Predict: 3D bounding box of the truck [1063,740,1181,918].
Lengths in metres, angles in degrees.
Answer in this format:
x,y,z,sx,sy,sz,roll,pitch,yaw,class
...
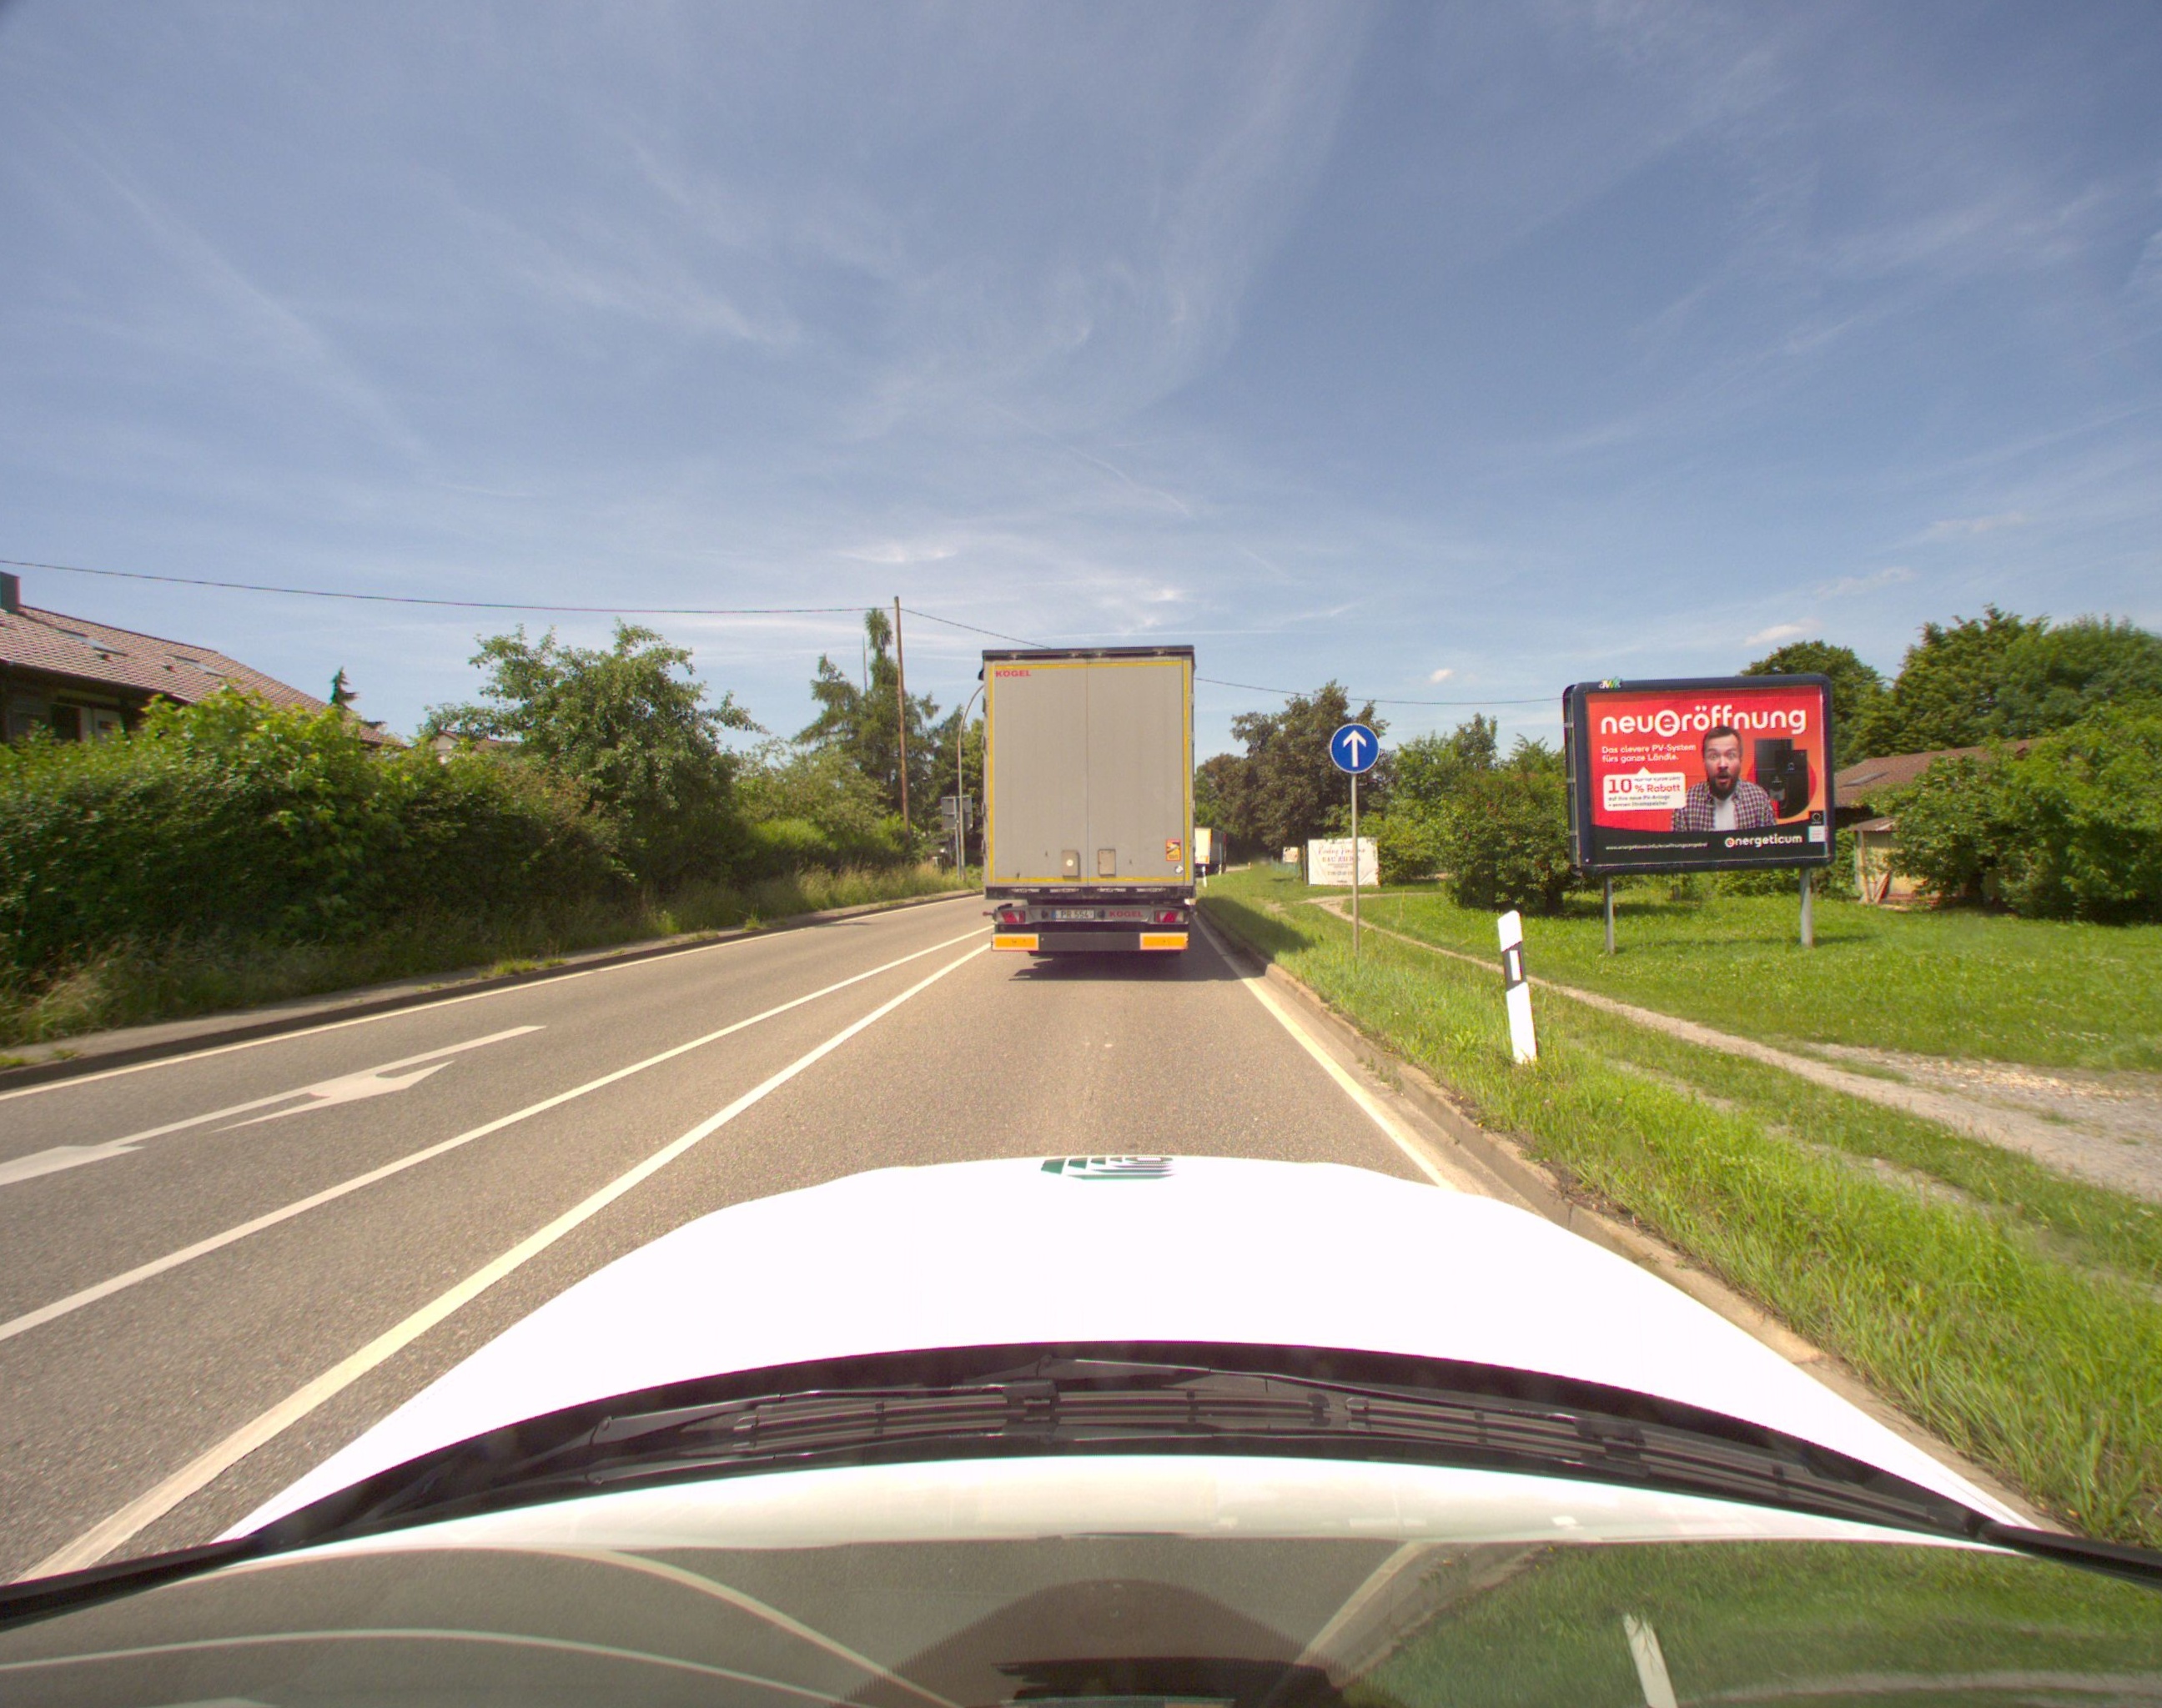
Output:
x,y,z,sx,sy,sz,roll,pitch,yaw,class
1.283,-0.610,22.326,2.732,4.165,6.153,-1,0,6,truck

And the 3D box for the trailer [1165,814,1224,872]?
x,y,z,sx,sy,sz,roll,pitch,yaw,class
10.048,-0.928,70.539,3.864,4.520,12.758,-1,0,13,trailer

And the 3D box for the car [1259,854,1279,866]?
x,y,z,sx,sy,sz,roll,pitch,yaw,class
24.810,0.812,107.520,1.825,1.486,4.023,-1,0,24,car

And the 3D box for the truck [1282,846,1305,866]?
x,y,z,sx,sy,sz,roll,pitch,yaw,class
31.189,0.296,119.234,2.399,2.838,5.443,-1,0,24,truck

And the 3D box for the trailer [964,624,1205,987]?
x,y,z,sx,sy,sz,roll,pitch,yaw,class
0.613,-0.597,15.569,2.773,4.205,12.130,-1,0,6,trailer

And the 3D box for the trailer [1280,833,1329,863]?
x,y,z,sx,sy,sz,roll,pitch,yaw,class
37.356,-1.089,135.298,5.132,4.628,15.988,-1,0,25,trailer

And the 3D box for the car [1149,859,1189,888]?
x,y,z,sx,sy,sz,roll,pitch,yaw,class
4.867,1.028,44.637,1.982,1.530,4.010,0,0,9,car

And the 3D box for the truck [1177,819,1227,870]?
x,y,z,sx,sy,sz,roll,pitch,yaw,class
11.539,-0.861,77.044,3.909,4.574,7.179,-1,0,14,truck

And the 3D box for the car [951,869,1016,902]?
x,y,z,sx,sy,sz,roll,pitch,yaw,class
-6.537,2.052,54.489,4.073,2.013,1.991,-1,0,-13,car
